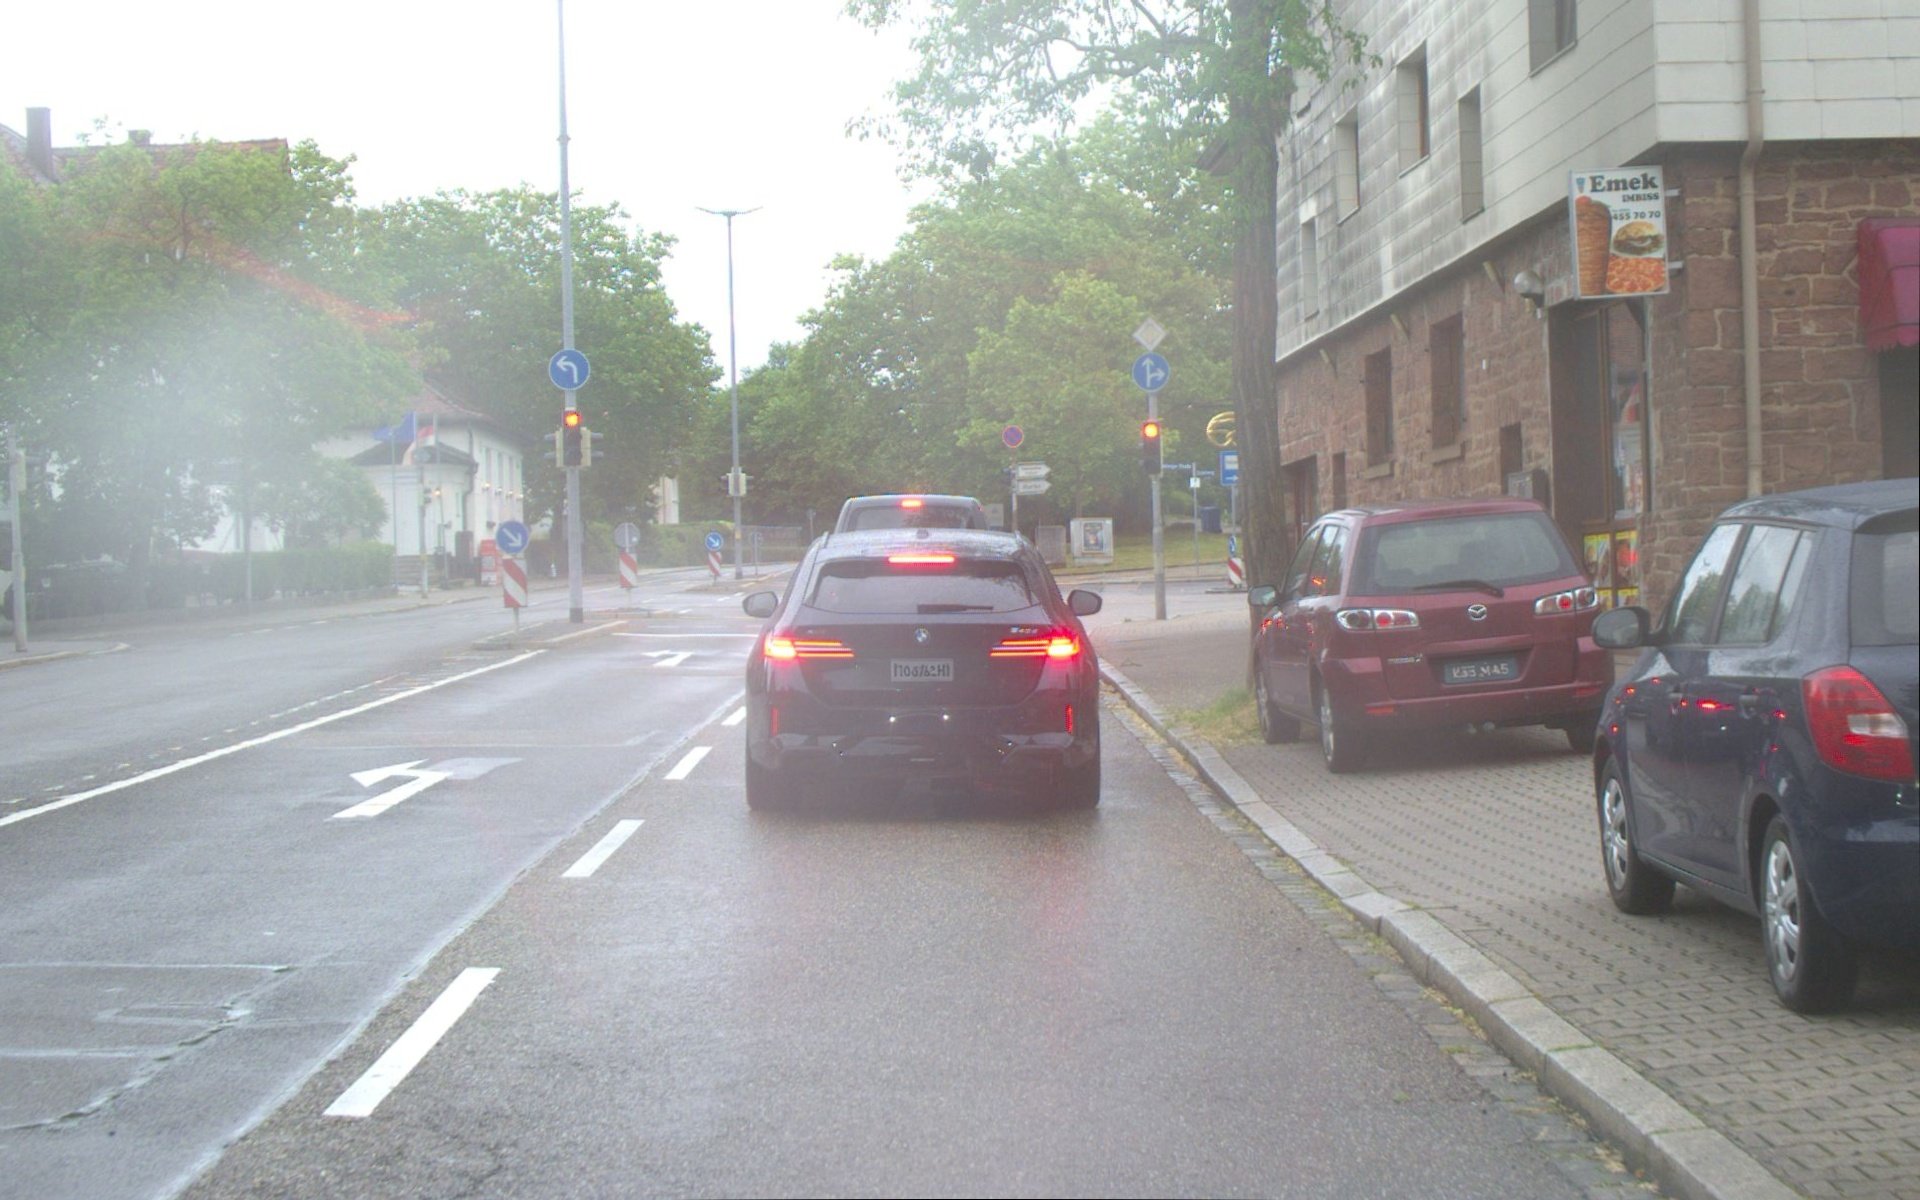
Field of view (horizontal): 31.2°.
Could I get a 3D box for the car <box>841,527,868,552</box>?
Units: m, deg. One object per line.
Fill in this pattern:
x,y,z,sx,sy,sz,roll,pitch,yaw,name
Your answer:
-6.053,-3.459,196.682,1.464,1.393,3.322,-1,1,-1,car

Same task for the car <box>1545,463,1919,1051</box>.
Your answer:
3.019,0.319,10.730,1.604,1.467,3.856,-4,1,0,car

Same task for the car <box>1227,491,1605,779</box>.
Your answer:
2.671,0.139,20.872,1.584,1.485,3.628,-4,2,-2,car

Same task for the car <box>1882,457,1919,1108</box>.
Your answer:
2.888,0.439,5.256,1.714,1.493,4.184,-4,1,0,car

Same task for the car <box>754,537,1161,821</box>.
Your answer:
-0.104,0.361,19.672,2.064,1.441,4.484,0,1,-2,car

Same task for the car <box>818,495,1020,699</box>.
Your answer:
-0.438,-0.077,32.821,1.783,1.811,4.001,-1,1,-2,car
